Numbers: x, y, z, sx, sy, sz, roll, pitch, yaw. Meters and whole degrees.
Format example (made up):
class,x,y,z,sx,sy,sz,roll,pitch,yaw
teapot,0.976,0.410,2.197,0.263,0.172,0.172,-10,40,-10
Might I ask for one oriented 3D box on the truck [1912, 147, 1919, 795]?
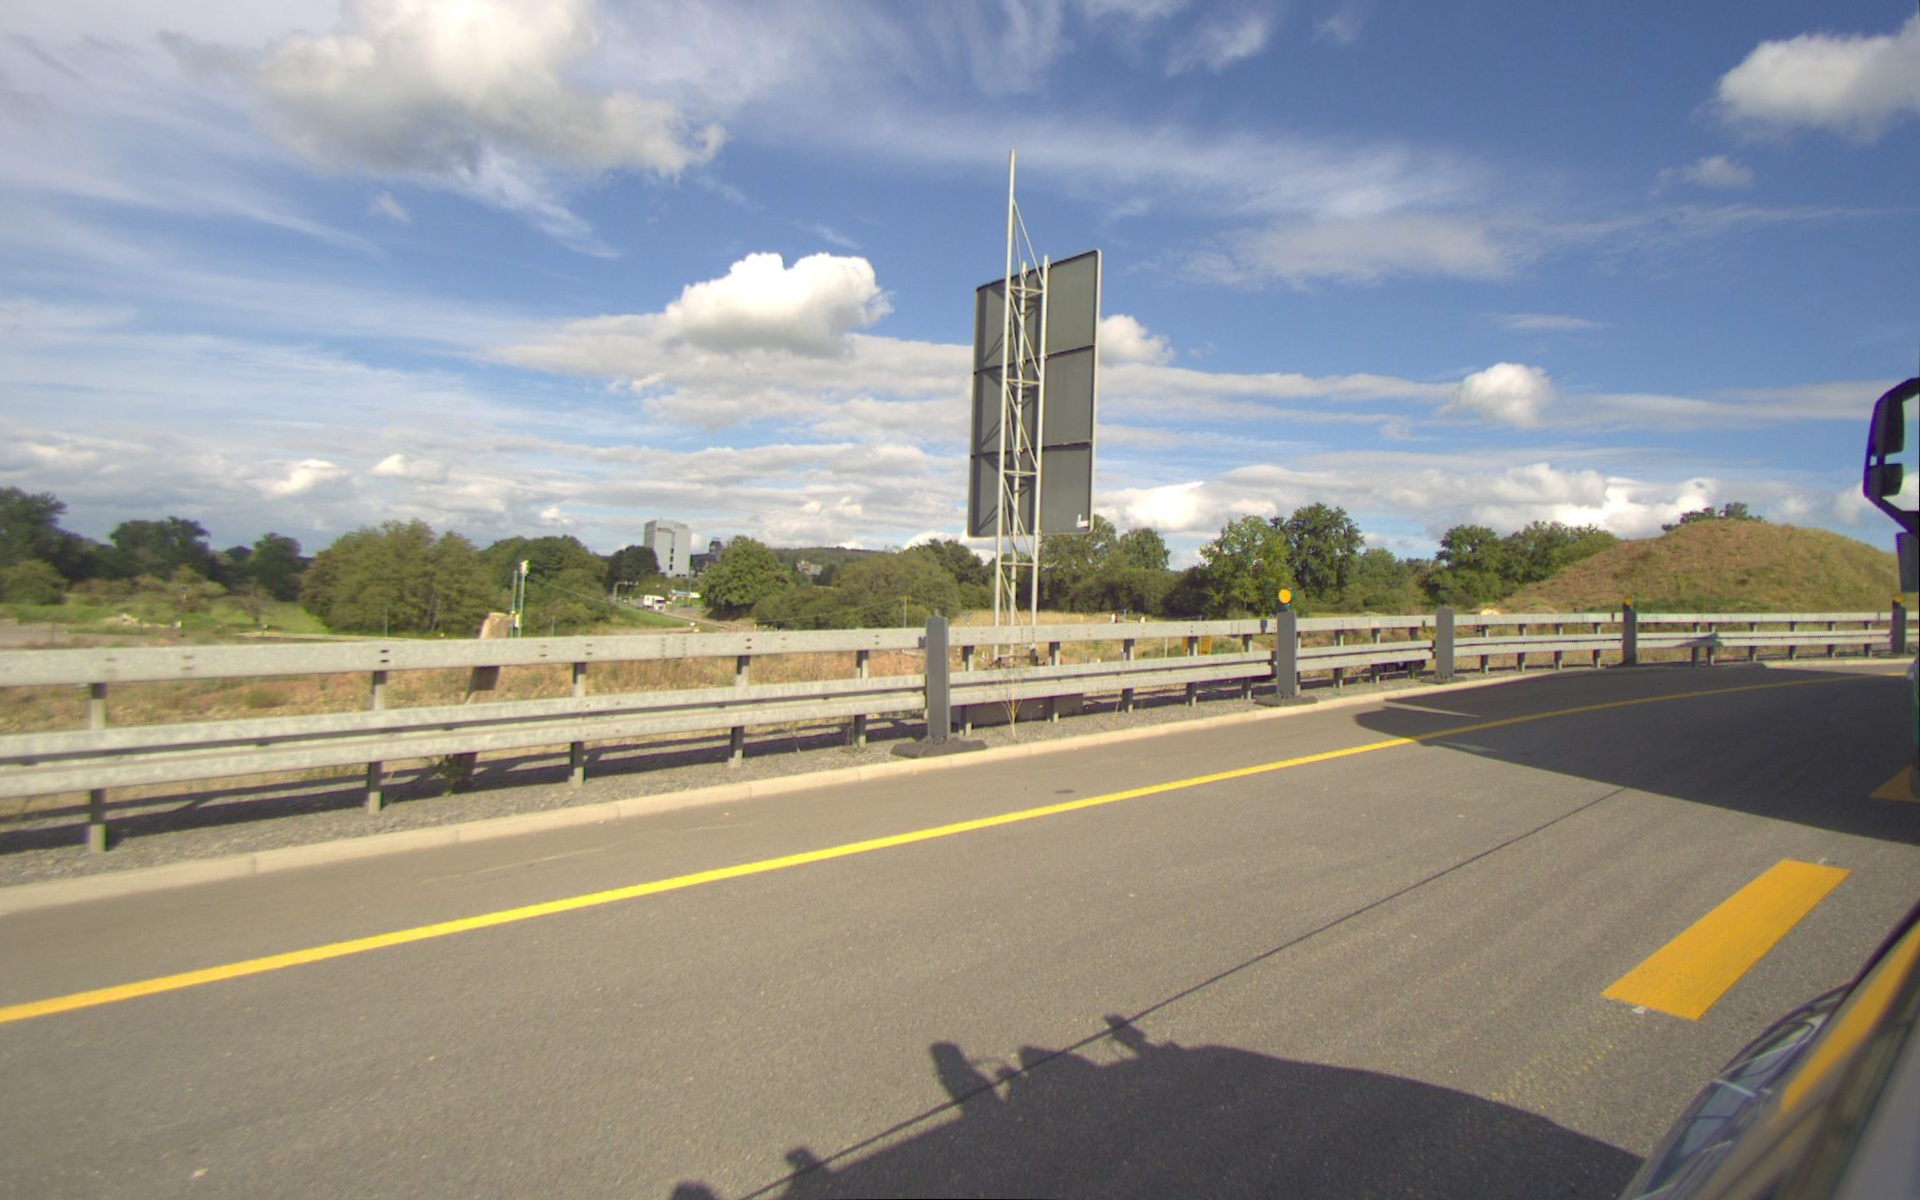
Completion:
class,x,y,z,sx,sy,sz,roll,pitch,yaw
truck,9.969,-0.673,8.087,10.142,3.896,2.660,-1,1,-42
